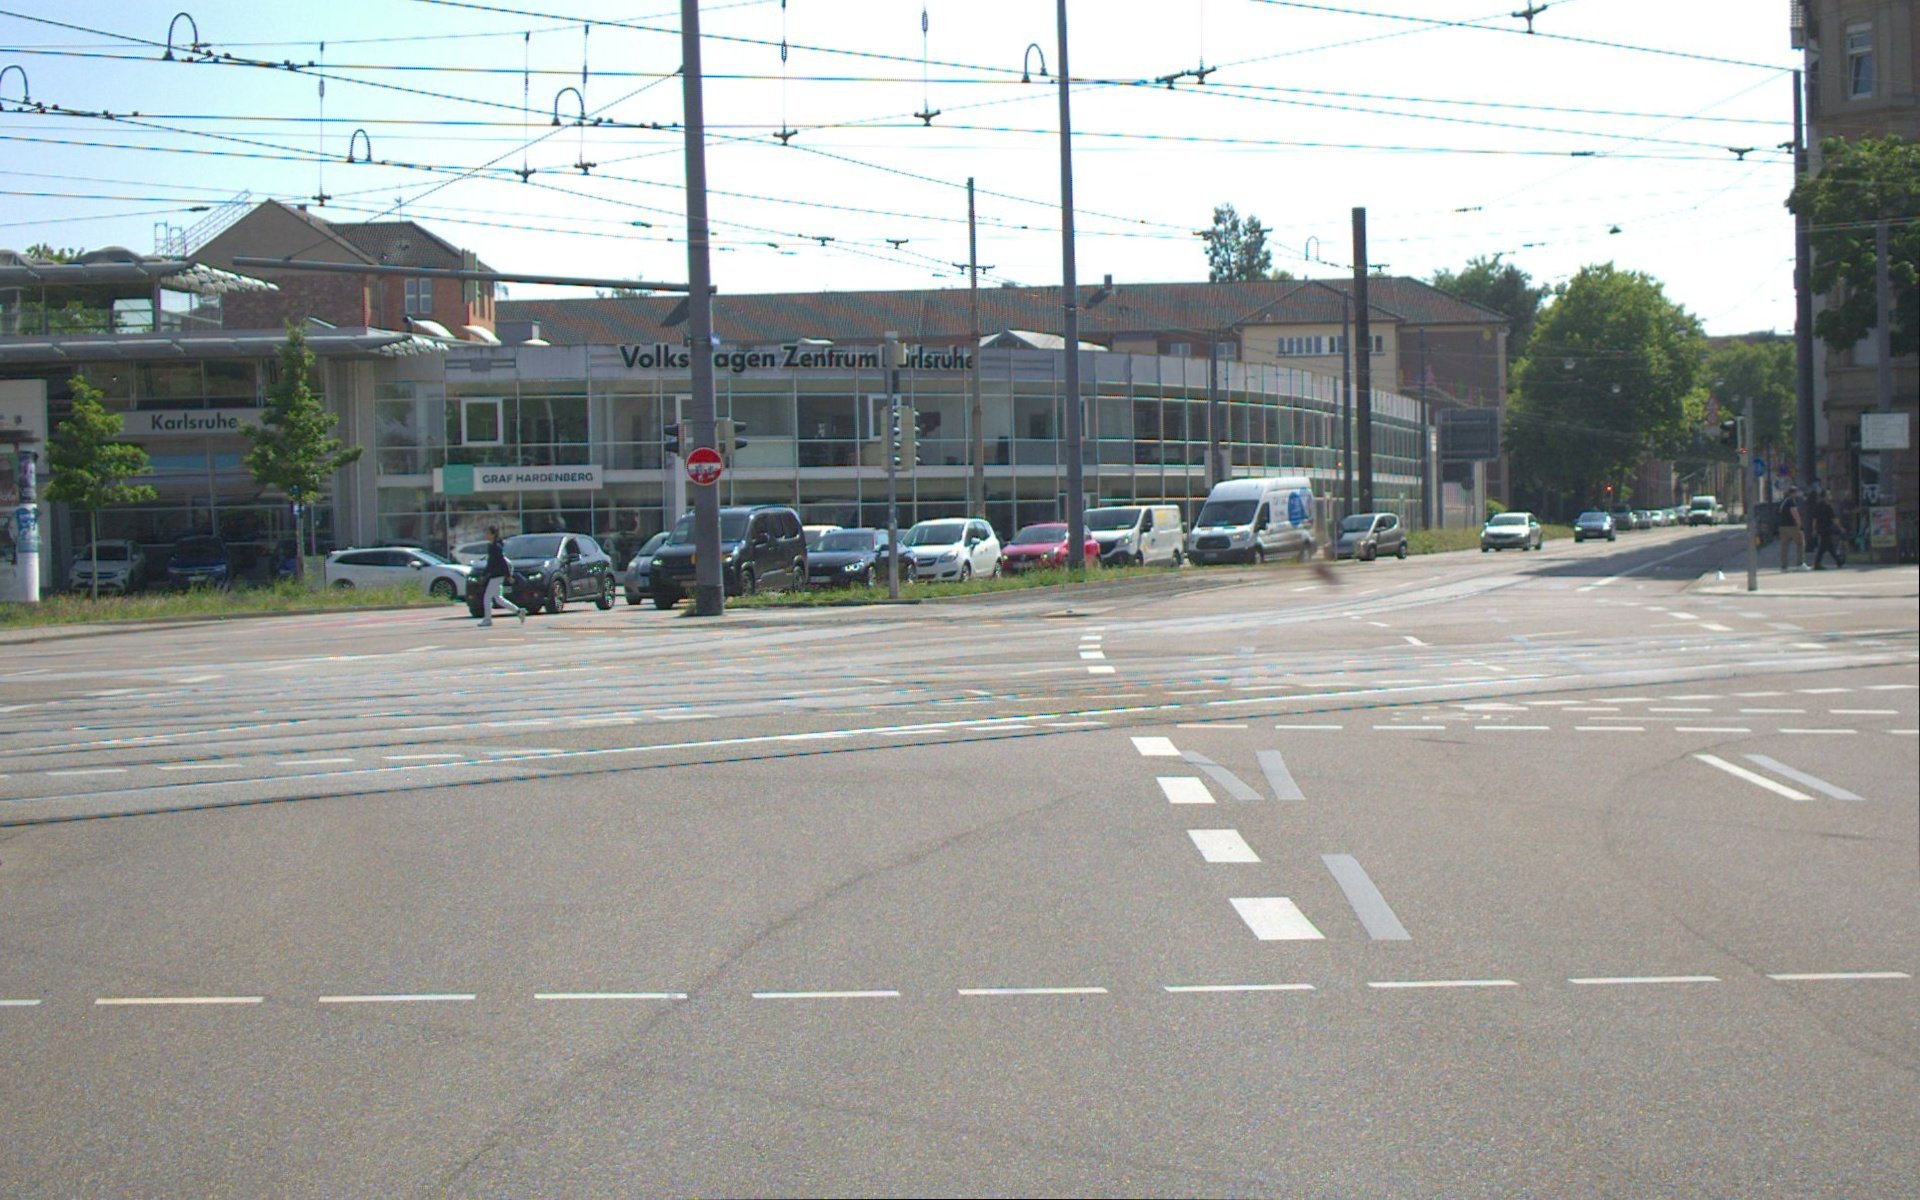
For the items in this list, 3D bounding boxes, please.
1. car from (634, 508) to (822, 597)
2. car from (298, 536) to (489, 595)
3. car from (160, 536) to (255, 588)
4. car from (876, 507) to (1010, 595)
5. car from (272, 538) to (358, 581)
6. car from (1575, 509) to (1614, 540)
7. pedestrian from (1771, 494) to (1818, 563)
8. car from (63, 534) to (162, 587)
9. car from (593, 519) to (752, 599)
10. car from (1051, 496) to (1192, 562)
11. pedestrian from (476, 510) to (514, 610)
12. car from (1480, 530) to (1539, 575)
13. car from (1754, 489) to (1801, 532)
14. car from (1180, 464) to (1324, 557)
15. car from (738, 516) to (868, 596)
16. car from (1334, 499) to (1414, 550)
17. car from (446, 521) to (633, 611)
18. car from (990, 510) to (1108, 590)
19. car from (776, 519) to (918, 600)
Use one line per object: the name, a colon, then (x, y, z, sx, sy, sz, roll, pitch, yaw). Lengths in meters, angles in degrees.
car: (-4.309, -0.917, 64.588, 1.962, 1.582, 4.713, -1, 1, 17)
car: (-14.486, -0.889, 87.938, 4.587, 1.431, 1.443, 1, 0, 14)
car: (-21.930, -1.113, 100.358, 1.993, 1.481, 4.000, 1, 1, -2)
car: (-0.361, -1.087, 78.333, 1.896, 1.910, 4.197, -1, 0, 17)
car: (-18.737, -1.184, 99.969, 1.830, 1.191, 4.000, 1, 1, -2)
car: (30.467, -3.628, 165.150, 1.385, 1.409, 3.010, 1, 1, 19)
pedestrian: (17.335, -1.487, 71.398, 0.612, 1.428, 0.712, 0, 0, -38)
car: (-24.714, -1.160, 100.386, 1.993, 1.481, 4.000, 1, 1, -2)
car: (-5.876, -0.828, 70.790, 1.896, 1.582, 3.997, -1, 0, 17)
car: (4.377, -1.918, 92.373, 2.188, 1.675, 5.024, -1, 1, 22)
pedestrian: (-7.475, -0.650, 55.296, 0.453, 1.599, 0.400, 1, 0, -36)
car: (20.708, -1.780, 129.389, 1.386, 1.619, 3.336, 1, 1, 23)
car: (39.355, -4.291, 165.461, 2.110, 2.007, 3.998, -1, 1, 14)
car: (8.593, -2.590, 100.631, 2.211, 2.566, 5.867, 1, 1, 26)
car: (-3.530, -0.983, 78.111, 1.653, 1.733, 4.197, -1, 0, 17)
car: (13.809, -2.502, 114.479, 1.386, 1.651, 3.754, 1, 1, 27)
car: (-7.772, -0.618, 63.980, 1.893, 1.582, 4.207, -1, 0, 17)
car: (2.239, -1.214, 85.328, 1.896, 1.910, 4.197, -1, 0, 17)
car: (-2.308, -0.823, 71.141, 1.895, 1.582, 3.997, -1, 0, 14)
